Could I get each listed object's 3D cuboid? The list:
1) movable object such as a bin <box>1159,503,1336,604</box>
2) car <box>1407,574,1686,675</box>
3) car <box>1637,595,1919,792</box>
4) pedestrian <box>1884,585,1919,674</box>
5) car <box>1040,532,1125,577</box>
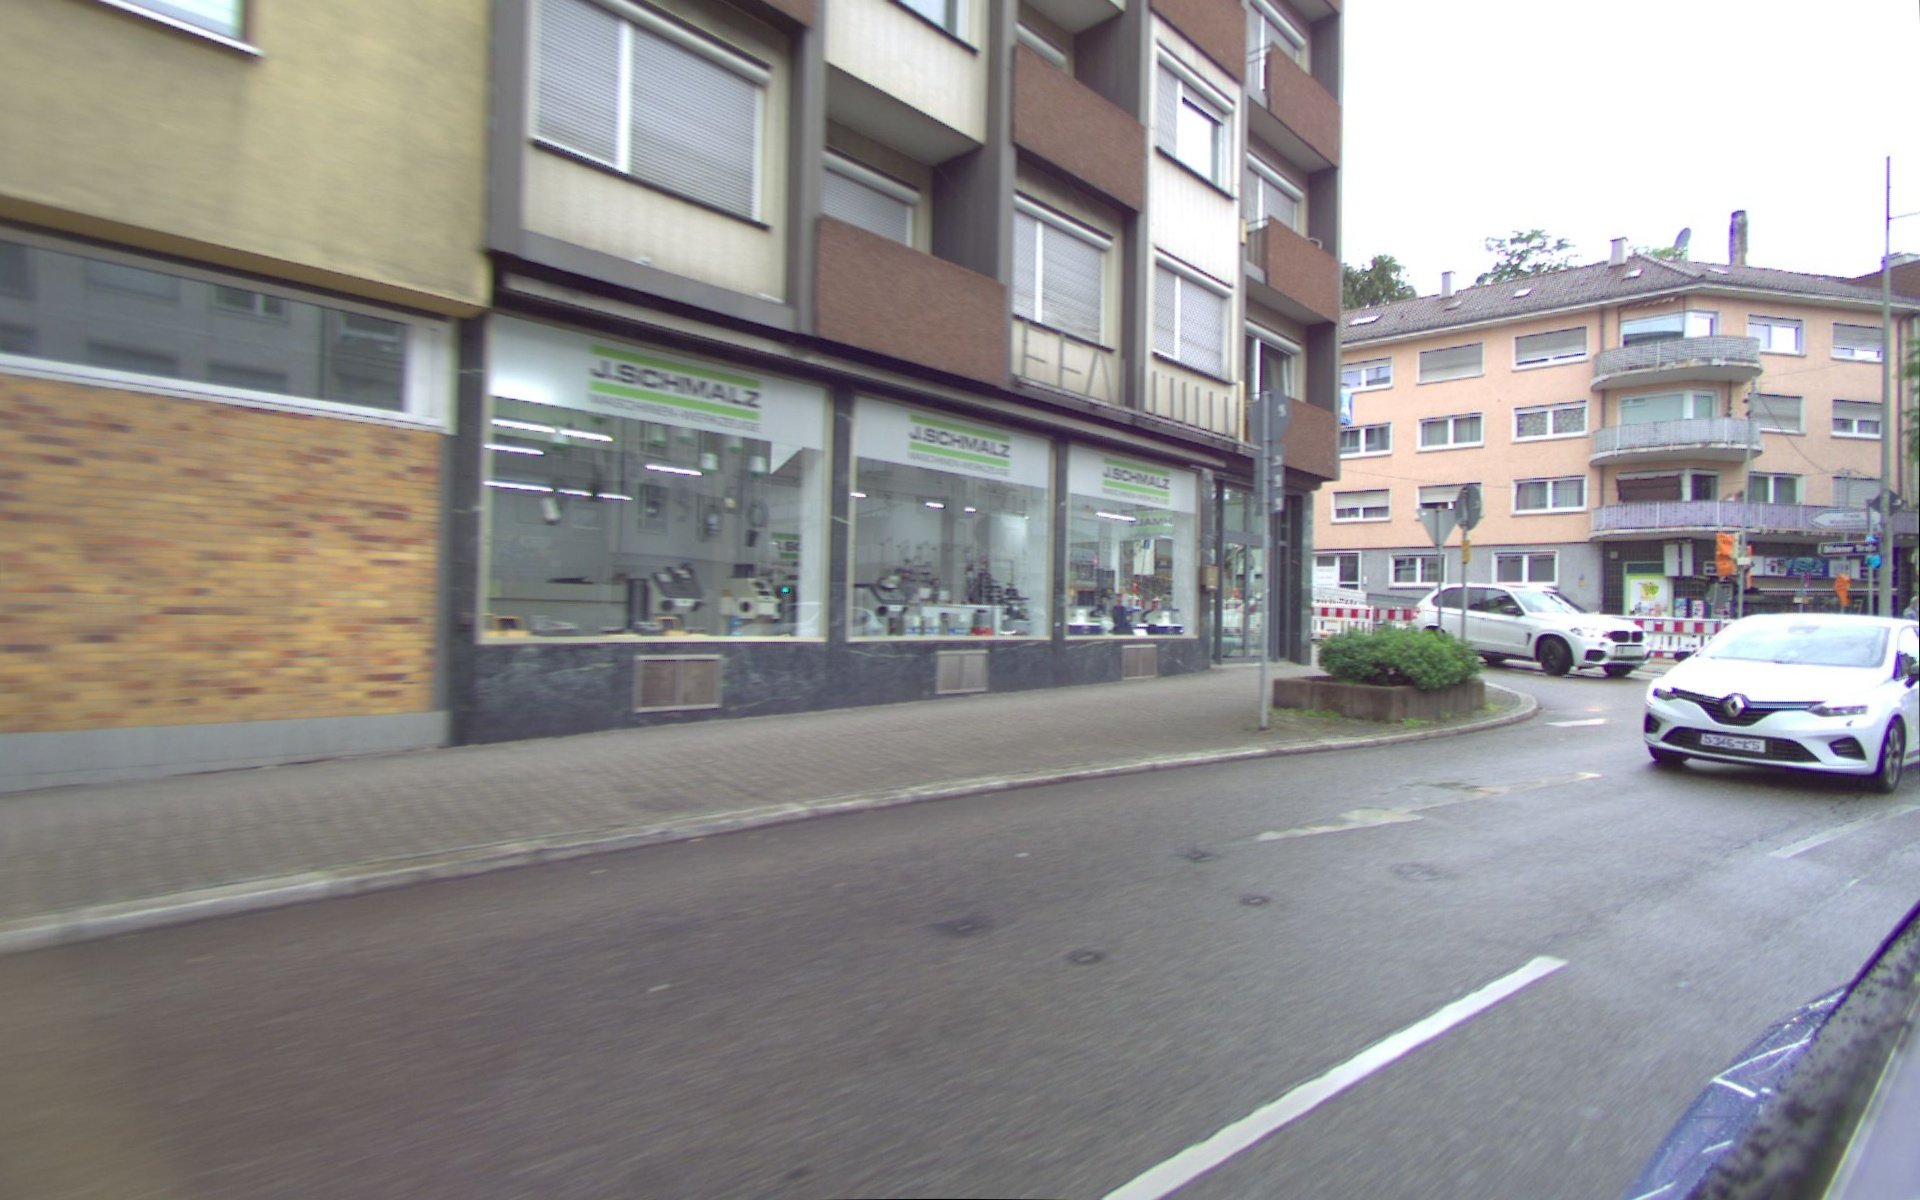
[{"bbox_3d":[12.201,-2.046,43.369,6.518,3.680,2.700,8,4,42],"label":"movable object such as a bin"},{"bbox_3d":[11.872,0.410,20.952,1.958,1.741,4.810,1,2,-20],"label":"car"},{"bbox_3d":[8.129,0.733,9.425,3.923,1.421,1.682,1,2,-35],"label":"car"},{"bbox_3d":[18.899,0.572,19.861,0.810,1.709,0.791,1,2,16],"label":"pedestrian"},{"bbox_3d":[6.049,-2.257,50.239,3.712,1.744,1.735,11,6,44],"label":"car"}]
